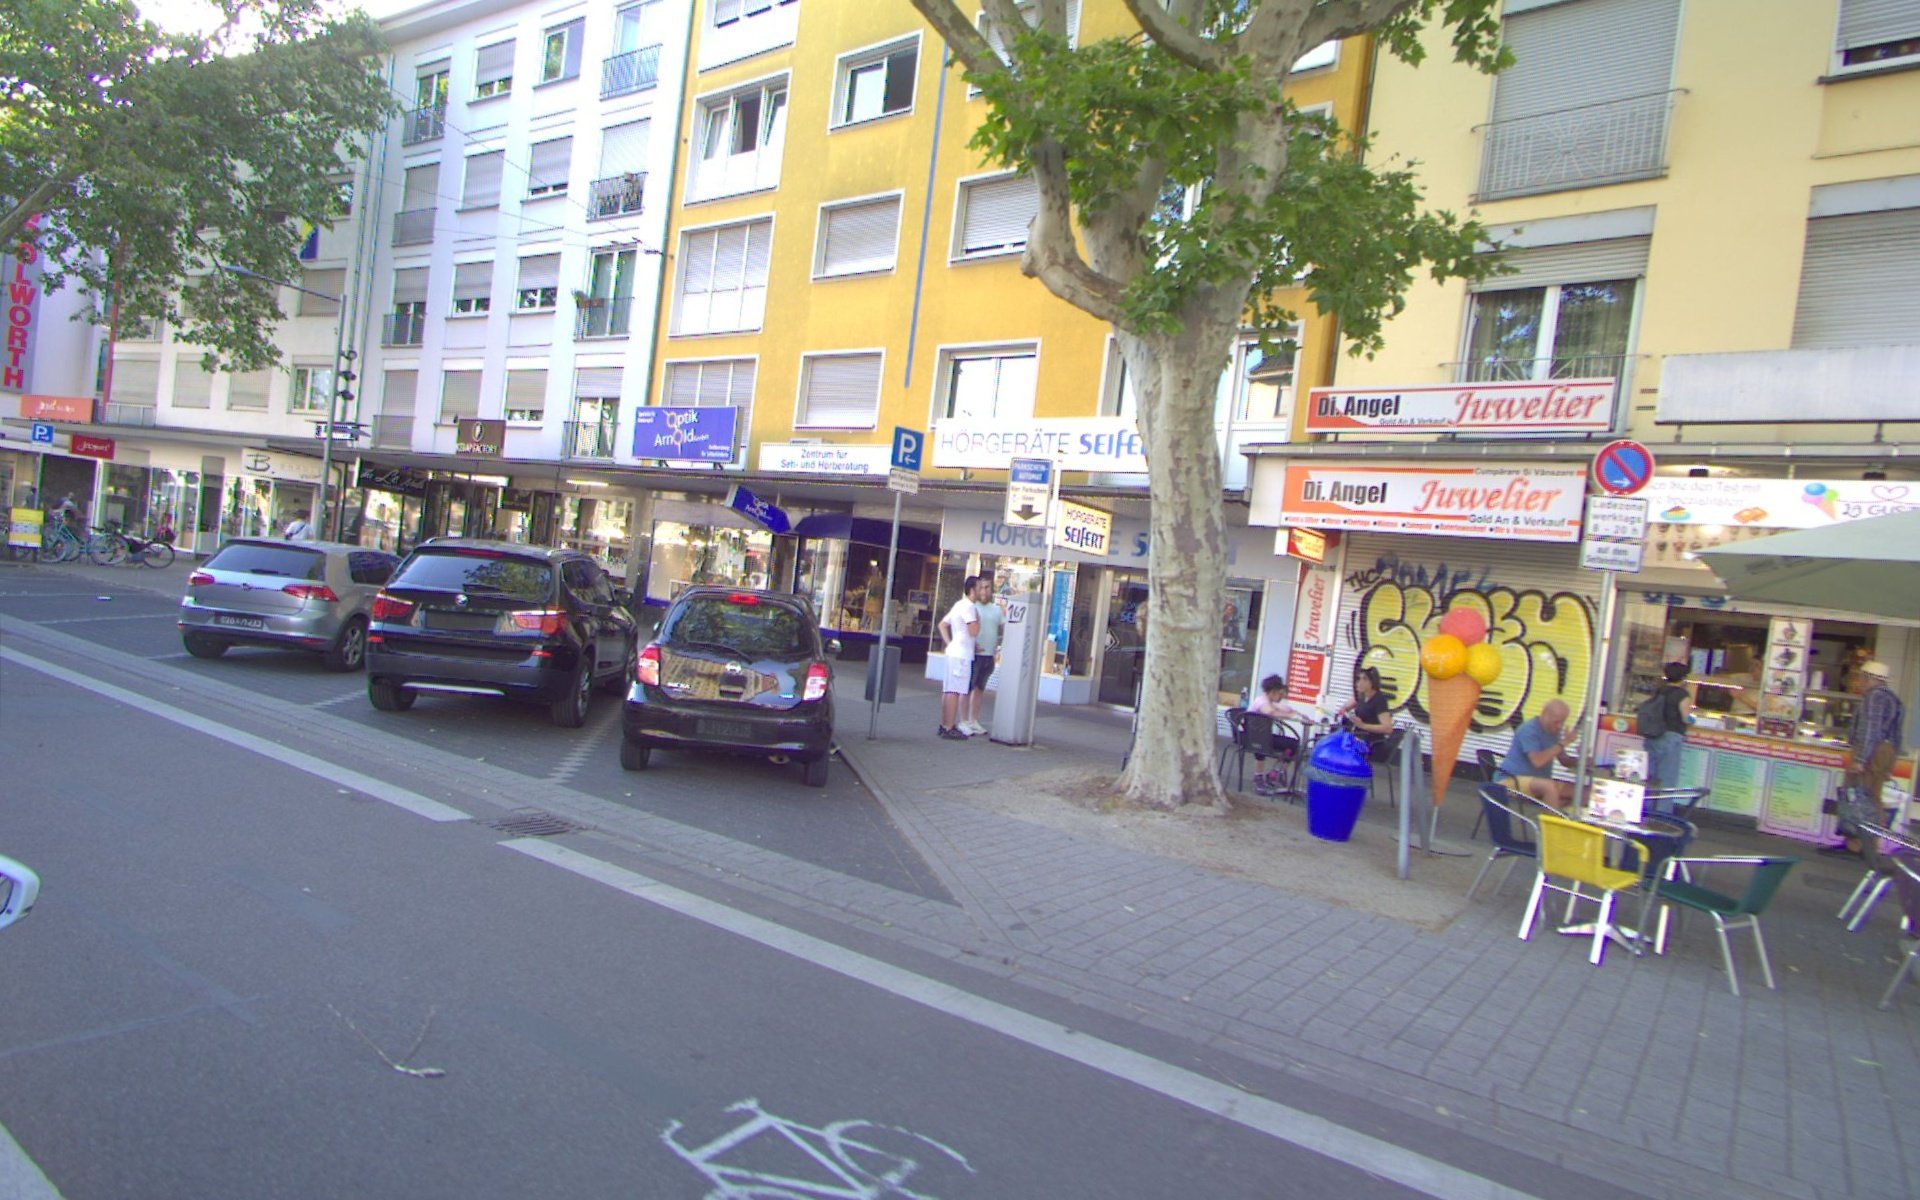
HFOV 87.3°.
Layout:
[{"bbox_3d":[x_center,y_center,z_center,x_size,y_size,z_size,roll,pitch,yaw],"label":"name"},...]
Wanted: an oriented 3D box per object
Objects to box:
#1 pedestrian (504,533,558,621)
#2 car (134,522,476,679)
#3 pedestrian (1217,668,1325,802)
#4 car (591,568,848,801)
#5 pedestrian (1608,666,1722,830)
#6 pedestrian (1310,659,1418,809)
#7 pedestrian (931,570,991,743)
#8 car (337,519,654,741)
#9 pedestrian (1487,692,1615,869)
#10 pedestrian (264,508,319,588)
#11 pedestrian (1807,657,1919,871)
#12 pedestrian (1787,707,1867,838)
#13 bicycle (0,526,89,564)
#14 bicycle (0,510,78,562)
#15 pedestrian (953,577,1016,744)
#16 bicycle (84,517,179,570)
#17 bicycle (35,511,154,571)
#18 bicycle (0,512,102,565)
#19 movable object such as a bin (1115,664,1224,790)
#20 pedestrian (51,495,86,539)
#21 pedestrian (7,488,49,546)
[{"bbox_3d":[-9.242,-0.498,21.646,0.776,1.816,0.705,7,4,38],"label":"pedestrian"},{"bbox_3d":[-7.906,0.005,12.707,1.777,1.469,4.173,6,0,-6],"label":"car"},{"bbox_3d":[2.970,1.269,9.600,0.738,1.128,0.584,7,-1,32],"label":"pedestrian"},{"bbox_3d":[-2.022,0.622,9.230,1.712,1.559,3.603,6,0,-8],"label":"car"},{"bbox_3d":[7.244,1.492,10.349,0.618,1.567,0.633,2,3,-27],"label":"pedestrian"},{"bbox_3d":[3.905,1.274,9.715,0.746,1.290,0.584,7,-1,33],"label":"pedestrian"},{"bbox_3d":[0.017,0.626,11.306,0.466,1.855,0.517,6,1,2],"label":"pedestrian"},{"bbox_3d":[-4.546,0.251,10.589,1.778,1.702,4.145,6,0,-8],"label":"car"},{"bbox_3d":[4.745,1.413,8.082,0.733,1.240,0.606,7,1,32],"label":"pedestrian"},{"bbox_3d":[-16.920,-1.308,25.465,0.809,1.900,0.645,7,1,19],"label":"pedestrian"},{"bbox_3d":[8.388,1.481,9.186,0.629,1.826,0.623,6,1,-22],"label":"pedestrian"},{"bbox_3d":[9.449,1.858,10.975,0.500,1.313,0.425,7,1,36],"label":"pedestrian"},{"bbox_3d":[-24.568,-1.477,26.859,0.701,0.775,1.874,8,1,40],"label":"bicycle"},{"bbox_3d":[-24.003,-1.668,25.875,0.701,1.205,1.872,7,3,40],"label":"bicycle"},{"bbox_3d":[0.292,0.697,11.703,0.466,1.855,0.517,6,1,10],"label":"pedestrian"},{"bbox_3d":[-21.469,-1.448,26.090,0.668,1.169,1.761,7,2,40],"label":"bicycle"},{"bbox_3d":[-21.599,-1.451,25.153,0.818,1.248,2.079,7,1,37],"label":"bicycle"},{"bbox_3d":[-23.057,-1.545,25.542,0.660,1.205,1.788,6,2,24],"label":"bicycle"},{"bbox_3d":[1.996,1.194,9.726,0.824,1.035,0.930,7,-1,6],"label":"movable object such as a bin"},{"bbox_3d":[-37.872,-3.539,42.740,0.820,1.700,0.749,9,2,26],"label":"pedestrian"},{"bbox_3d":[-31.396,-2.783,33.891,0.751,1.816,0.781,7,1,32],"label":"pedestrian"}]
